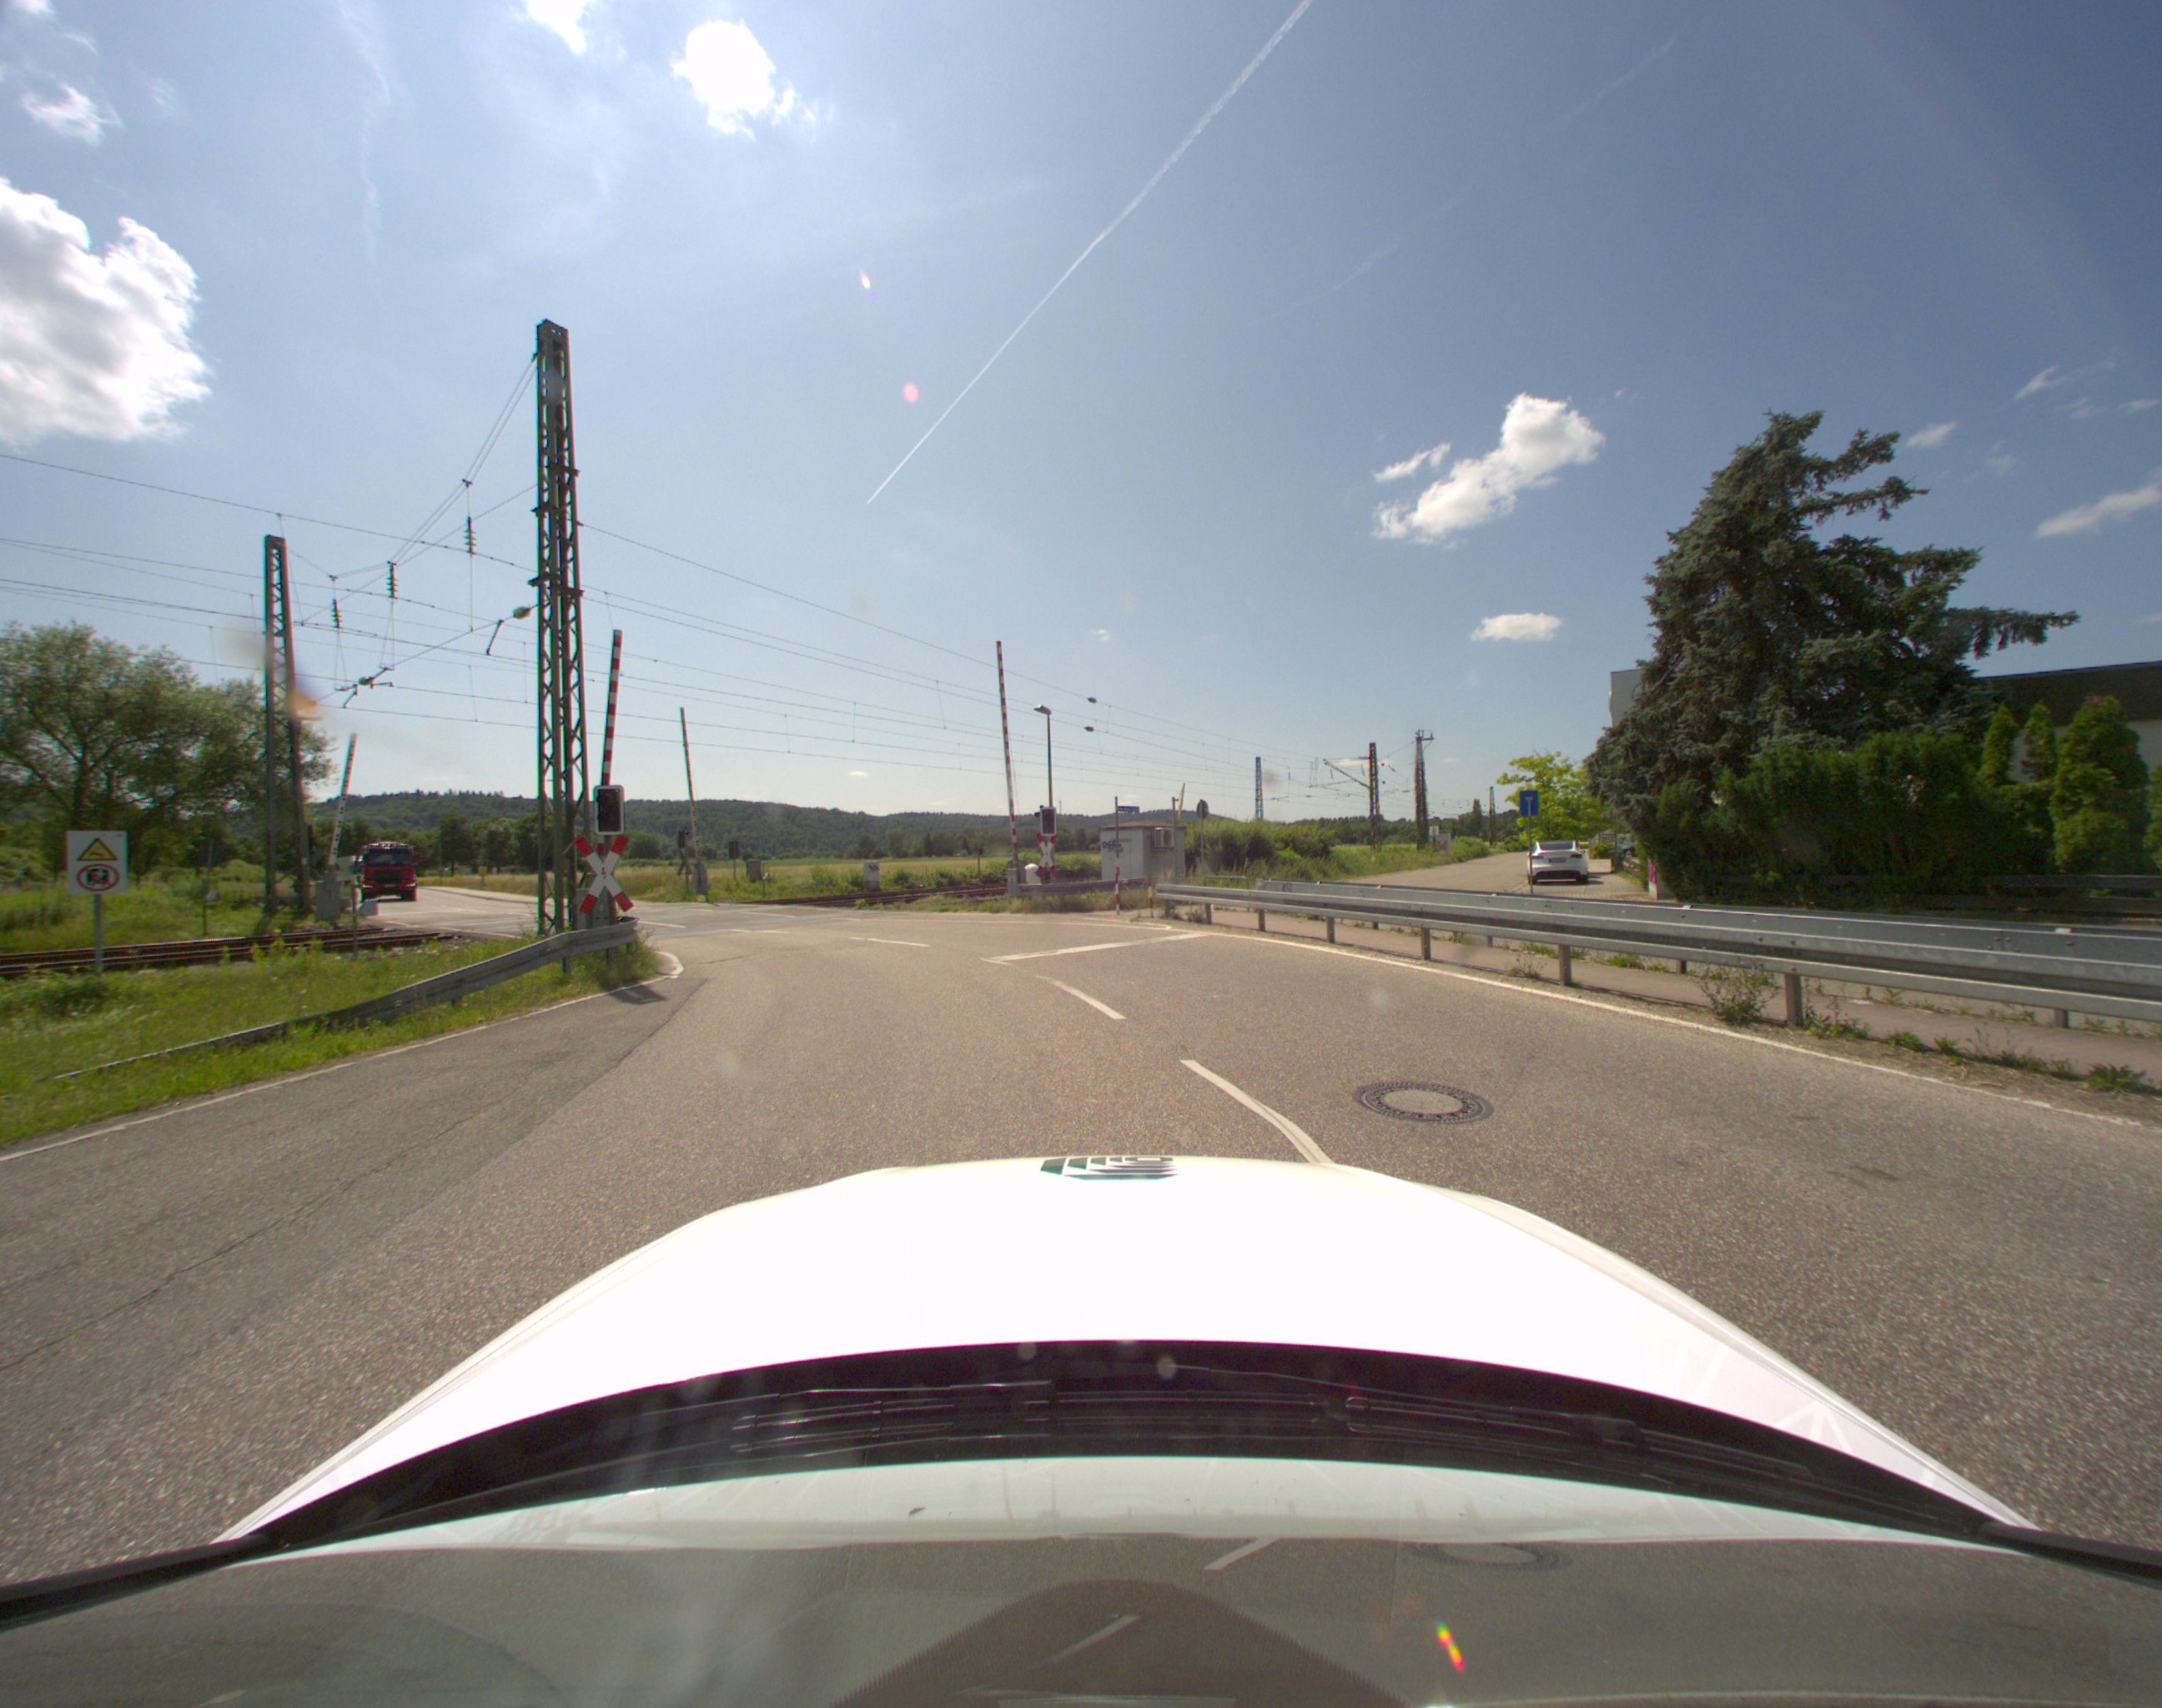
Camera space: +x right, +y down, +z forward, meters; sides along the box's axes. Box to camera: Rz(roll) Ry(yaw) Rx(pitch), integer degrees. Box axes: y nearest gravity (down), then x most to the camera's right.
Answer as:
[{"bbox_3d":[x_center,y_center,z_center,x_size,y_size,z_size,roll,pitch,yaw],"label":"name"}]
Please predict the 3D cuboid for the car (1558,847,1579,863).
[{"bbox_3d":[44.592,0.087,74.484,1.575,1.453,3.354,-1,0,32],"label":"car"}]

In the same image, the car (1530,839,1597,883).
[{"bbox_3d":[17.952,0.218,30.426,1.974,1.510,4.482,-1,0,29],"label":"car"}]

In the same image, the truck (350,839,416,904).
[{"bbox_3d":[-44.573,1.110,51.947,2.897,3.745,12.003,-1,-1,-41],"label":"truck"}]

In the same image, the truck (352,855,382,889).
[{"bbox_3d":[-86.190,2.164,98.248,2.593,3.948,5.966,-2,0,-42],"label":"truck"}]
